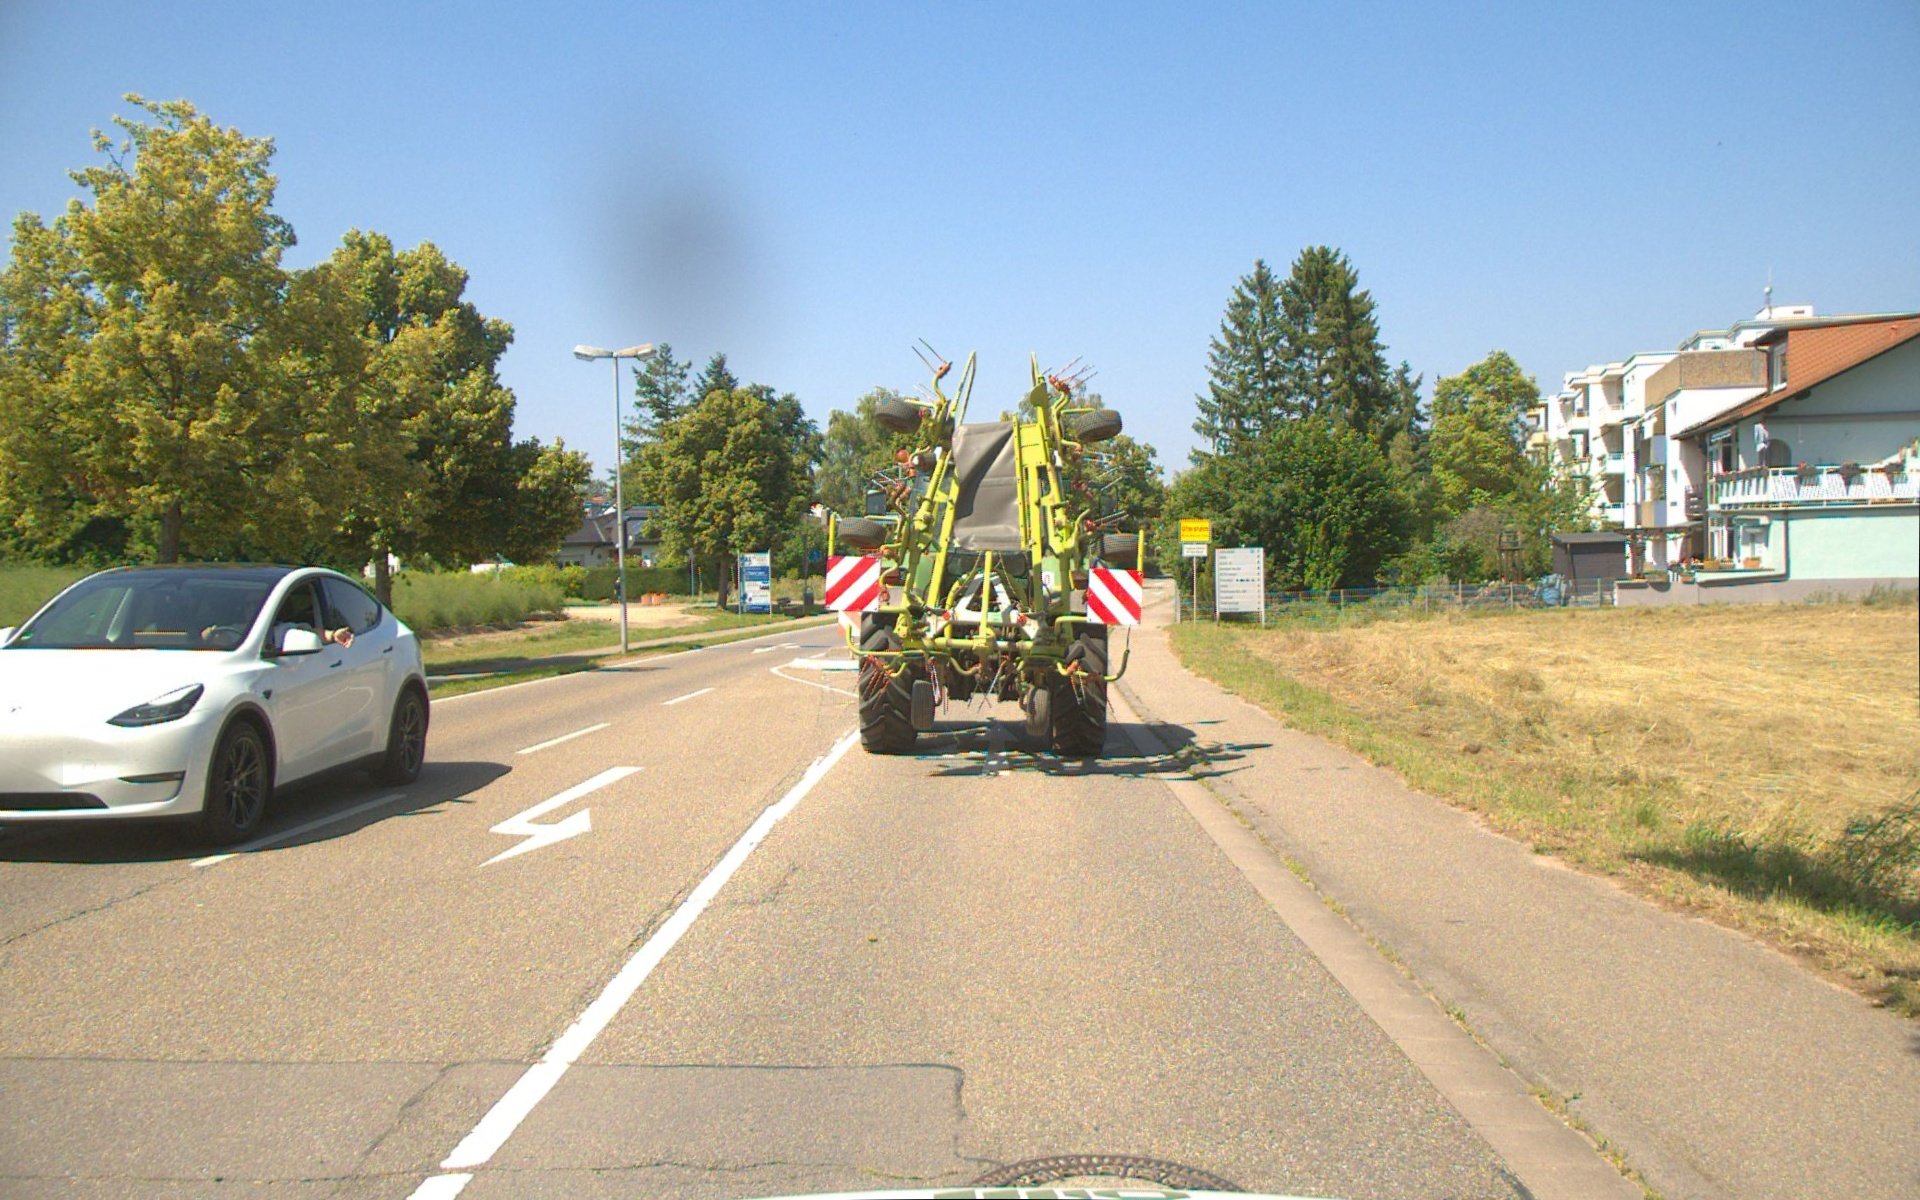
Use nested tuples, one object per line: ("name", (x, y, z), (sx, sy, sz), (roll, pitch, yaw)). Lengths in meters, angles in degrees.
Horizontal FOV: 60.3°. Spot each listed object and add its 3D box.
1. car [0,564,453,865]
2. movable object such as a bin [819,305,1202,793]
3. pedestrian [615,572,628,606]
("car", (-5.013, 0.577, 11.018), (1.837, 1.599, 4.472), (0, 1, 1))
("movable object such as a bin", (0.347, -0.505, 17.339), (2.795, 3.603, 9.701), (2, 1, 0))
("pedestrian", (-17.756, -0.559, 86.741), (0.541, 1.747, 0.671), (2, -2, -22))
